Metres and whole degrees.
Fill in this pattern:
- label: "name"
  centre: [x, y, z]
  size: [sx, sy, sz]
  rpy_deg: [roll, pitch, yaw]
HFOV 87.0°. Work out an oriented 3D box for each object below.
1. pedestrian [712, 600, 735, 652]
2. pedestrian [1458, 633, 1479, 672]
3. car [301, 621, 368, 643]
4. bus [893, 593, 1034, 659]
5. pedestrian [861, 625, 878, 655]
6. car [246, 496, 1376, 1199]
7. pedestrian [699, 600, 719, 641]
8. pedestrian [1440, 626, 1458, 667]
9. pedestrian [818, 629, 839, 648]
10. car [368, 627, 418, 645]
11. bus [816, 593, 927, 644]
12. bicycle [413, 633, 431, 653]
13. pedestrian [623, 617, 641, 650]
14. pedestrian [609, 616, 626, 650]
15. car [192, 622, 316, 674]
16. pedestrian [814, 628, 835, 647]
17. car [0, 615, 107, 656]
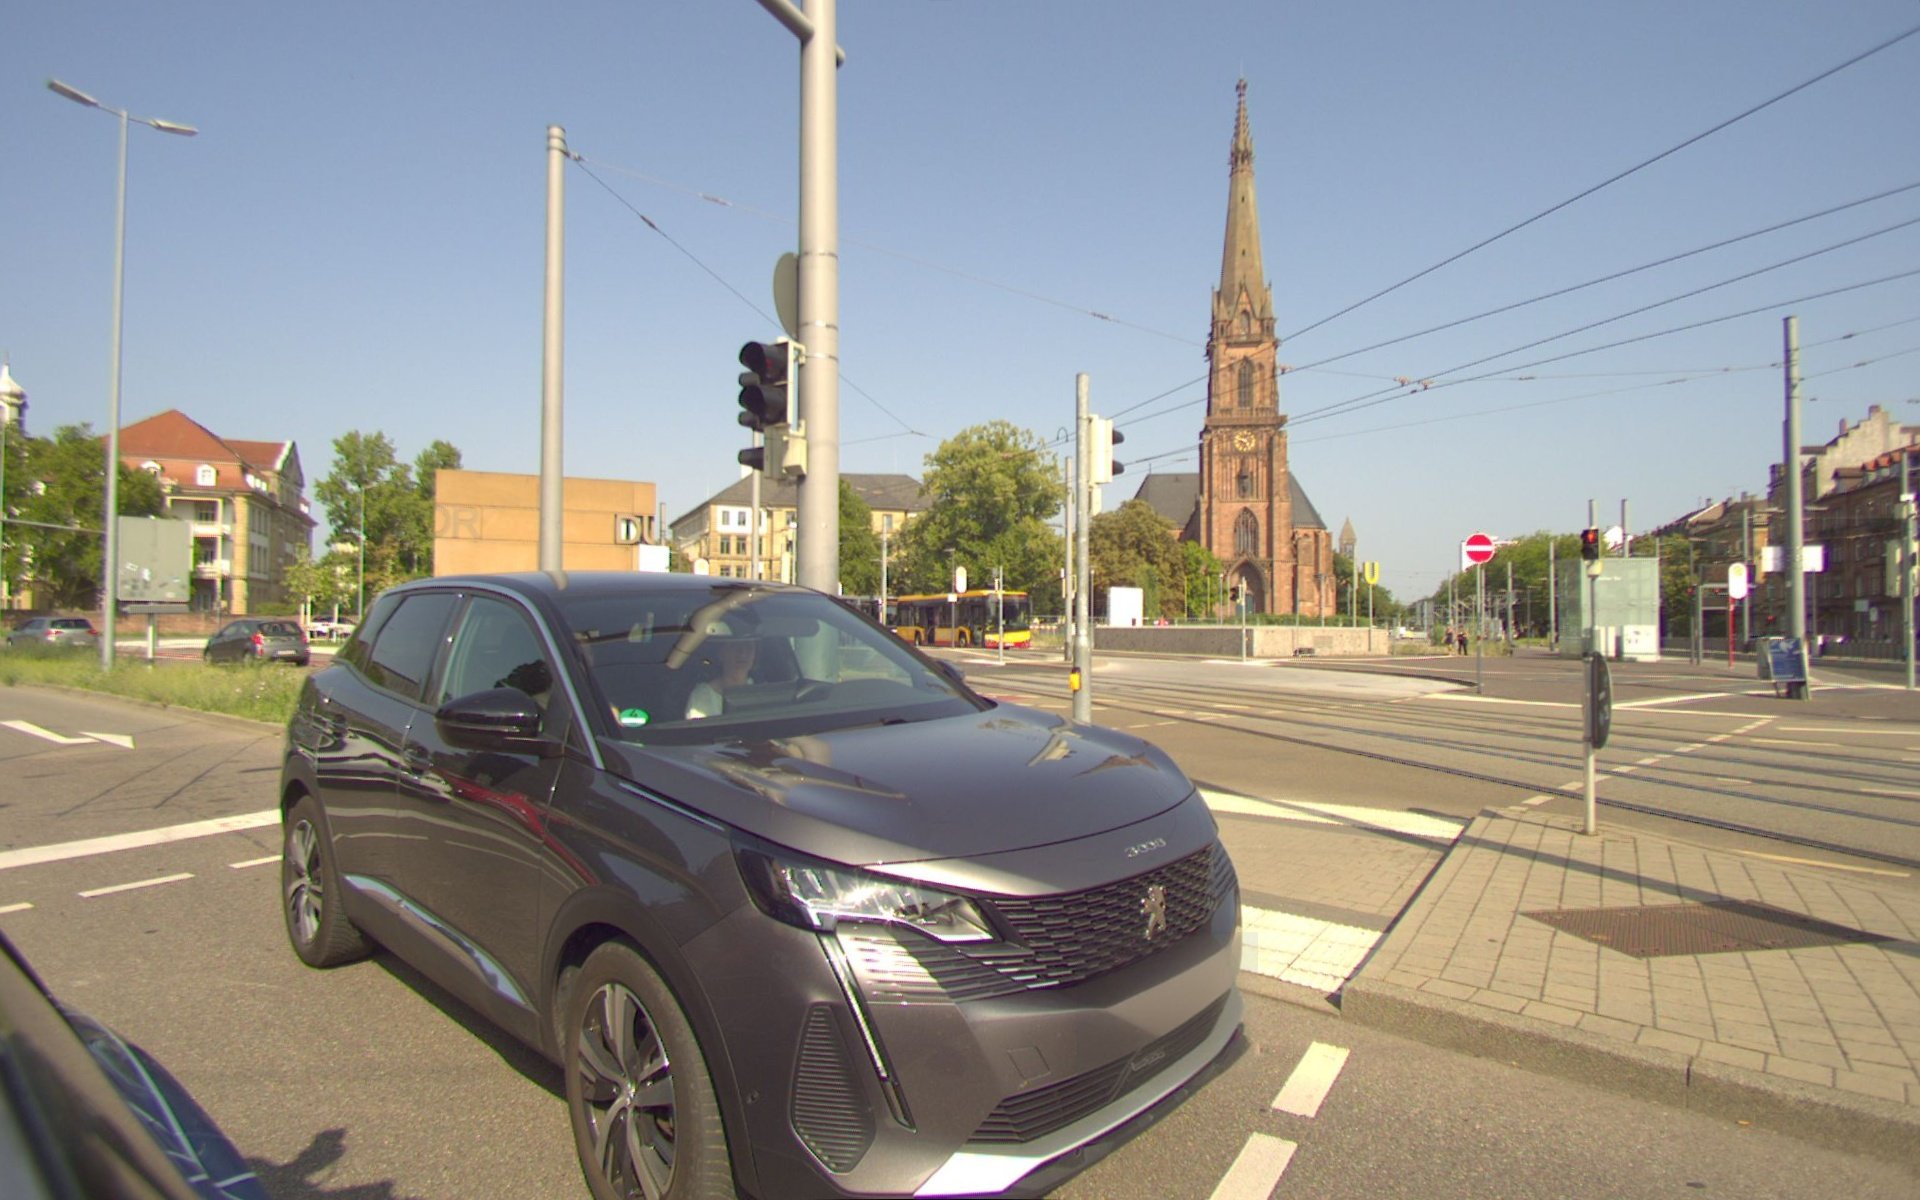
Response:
- label: "pedestrian"
  centre: [-8.452, 0.935, 36.221]
  size: [0.689, 1.814, 0.782]
  rpy_deg: [1, -2, -20]
- label: "pedestrian"
  centre: [23.389, 2.402, 46.513]
  size: [0.750, 1.796, 0.699]
  rpy_deg: [-1, -2, 35]
- label: "car"
  centre: [-47.676, 2.418, 77.210]
  size: [1.977, 1.646, 4.360]
  rpy_deg: [0, -2, 8]
- label: "bus"
  centre: [-0.147, 1.389, 53.588]
  size: [2.669, 3.132, 12.254]
  rpy_deg: [1, -2, -24]
- label: "pedestrian"
  centre: [-5.385, 2.389, 60.059]
  size: [0.816, 1.752, 0.838]
  rpy_deg: [1, -2, -21]
- label: "car"
  centre: [-1.034, 0.659, 3.632]
  size: [4.373, 1.503, 1.664]
  rpy_deg: [-2, -2, 44]
- label: "pedestrian"
  centre: [-11.060, 0.909, 44.631]
  size: [0.689, 1.814, 0.782]
  rpy_deg: [1, -2, -27]
- label: "pedestrian"
  centre: [22.699, 2.171, 46.964]
  size: [0.651, 1.880, 0.713]
  rpy_deg: [-1, -2, 35]
- label: "pedestrian"
  centre: [-7.761, 2.257, 59.662]
  size: [1.013, 1.142, 0.740]
  rpy_deg: [1, -2, -32]
- label: "car"
  centre: [-46.828, 2.960, 83.721]
  size: [1.607, 1.509, 3.840]
  rpy_deg: [0, -1, 8]
- label: "bus"
  centre: [-6.063, 1.287, 66.243]
  size: [3.242, 3.000, 12.838]
  rpy_deg: [1, -2, -24]
- label: "bicycle"
  centre: [-24.918, 1.985, 46.856]
  size: [0.582, 0.844, 1.552]
  rpy_deg: [-2, -1, -23]
- label: "pedestrian"
  centre: [-16.054, 1.640, 49.590]
  size: [0.707, 1.642, 0.859]
  rpy_deg: [1, -2, -26]
- label: "pedestrian"
  centre: [-17.887, 1.727, 52.809]
  size: [0.707, 1.751, 0.859]
  rpy_deg: [1, -2, -26]
- label: "car"
  centre: [-21.323, 1.408, 30.559]
  size: [3.665, 1.463, 1.873]
  rpy_deg: [-1, -2, 34]
- label: "pedestrian"
  centre: [-8.076, 2.256, 60.476]
  size: [1.013, 1.142, 0.740]
  rpy_deg: [1, -2, -32]
- label: "car"
  centre: [-34.119, 1.314, 38.024]
  size: [4.207, 1.444, 1.801]
  rpy_deg: [-1, -2, 30]
